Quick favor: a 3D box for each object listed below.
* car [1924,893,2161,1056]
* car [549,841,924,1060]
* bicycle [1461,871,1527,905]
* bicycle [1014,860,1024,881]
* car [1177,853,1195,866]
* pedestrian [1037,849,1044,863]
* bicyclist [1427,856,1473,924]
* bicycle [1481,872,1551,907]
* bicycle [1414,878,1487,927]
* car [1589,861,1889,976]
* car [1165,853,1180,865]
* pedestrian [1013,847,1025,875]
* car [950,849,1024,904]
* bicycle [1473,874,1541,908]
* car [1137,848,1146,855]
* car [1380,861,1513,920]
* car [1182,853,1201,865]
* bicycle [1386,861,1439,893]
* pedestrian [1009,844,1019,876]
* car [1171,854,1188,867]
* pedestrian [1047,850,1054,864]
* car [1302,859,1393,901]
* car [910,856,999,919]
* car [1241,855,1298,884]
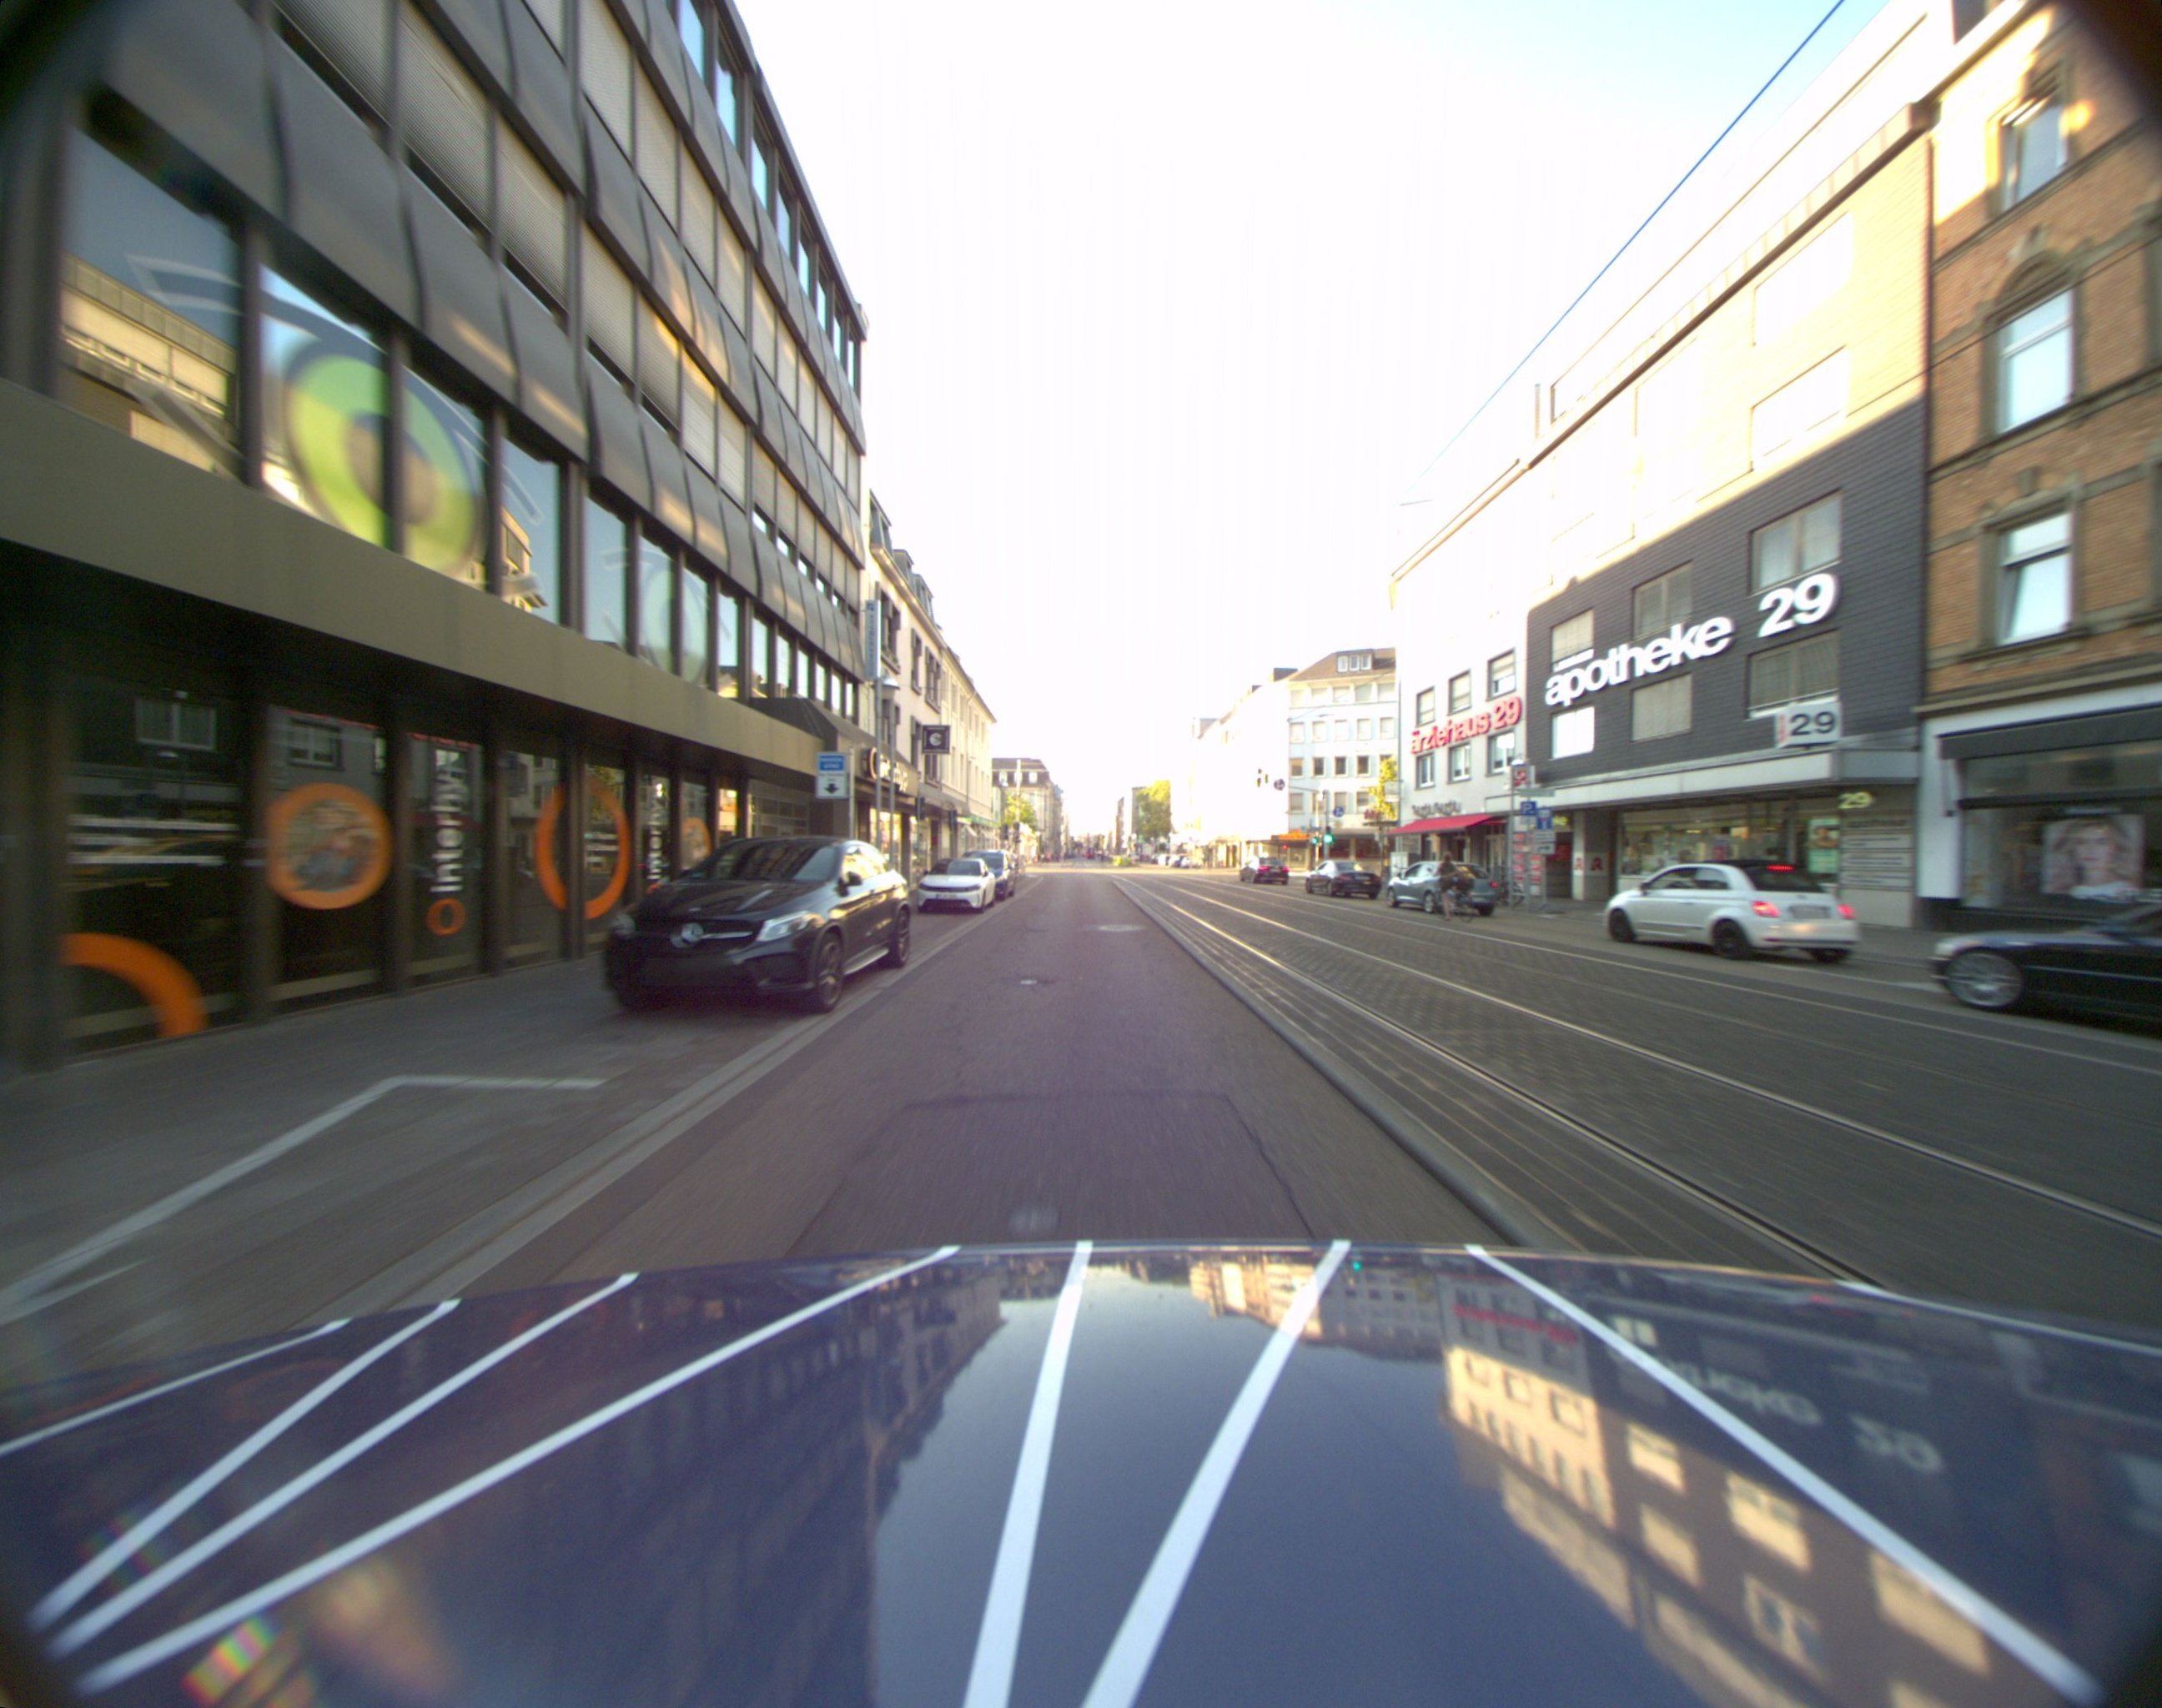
[{"bbox_3d":[9.608,1.056,5.746,1.671,1.221,4.273,2,0,0],"label":"car"},{"bbox_3d":[-3.318,0.780,8.573,1.989,1.724,4.670,2,0,1],"label":"car"},{"bbox_3d":[13.448,1.100,24.763,1.860,0.978,0.492,-3,1,0],"label":"bicycle"},{"bbox_3d":[-3.292,0.865,40.481,0.479,1.083,1.647,1,1,-3],"label":"bicycle"},{"bbox_3d":[12.719,0.660,92.335,1.847,1.626,4.001,0,0,3],"label":"car"},{"bbox_3d":[-4.805,0.280,89.835,0.806,1.603,0.993,-1,2,0],"label":"pedestrian"},{"bbox_3d":[8.742,0.840,18.019,0.695,1.556,0.799,0,1,-1],"label":"bicyclist"},{"bbox_3d":[13.442,1.086,23.492,1.860,0.978,0.462,-3,1,0],"label":"bicycle"},{"bbox_3d":[8.748,1.117,18.091,0.695,1.028,2.081,0,0,-1],"label":"bicycle"},{"bbox_3d":[10.437,0.918,12.474,1.671,1.497,3.680,2,0,0],"label":"car"},{"bbox_3d":[12.856,0.635,106.626,1.847,1.626,4.001,0,0,3],"label":"car"},{"bbox_3d":[-3.936,0.436,48.390,0.639,1.735,0.699,0,1,2],"label":"pedestrian"},{"bbox_3d":[-3.209,0.717,26.879,1.919,1.707,4.563,2,0,1],"label":"car"},{"bbox_3d":[13.445,1.165,24.009,1.860,0.978,0.462,-3,1,0],"label":"bicycle"},{"bbox_3d":[13.558,-0.511,171.415,1.847,1.626,4.001,0,0,3],"label":"car"},{"bbox_3d":[10.076,0.950,21.323,1.762,1.378,4.061,2,0,1],"label":"car"},{"bbox_3d":[12.759,0.571,87.860,1.847,1.287,4.001,0,0,3],"label":"car"},{"bbox_3d":[13.605,0.934,31.178,1.860,1.219,0.607,-3,1,0],"label":"bicycle"},{"bbox_3d":[-4.075,0.348,46.280,0.576,1.917,0.496,0,1,-11],"label":"pedestrian"},{"bbox_3d":[12.862,0.811,99.090,1.847,1.626,4.001,0,0,3],"label":"car"},{"bbox_3d":[-3.625,0.316,89.832,0.806,1.603,0.993,-1,2,0],"label":"pedestrian"},{"bbox_3d":[10.212,0.935,29.505,1.919,1.378,4.563,2,0,1],"label":"car"},{"bbox_3d":[-3.372,0.852,20.897,1.770,1.476,3.872,2,0,0],"label":"car"},{"bbox_3d":[10.024,0.769,40.708,1.919,1.378,4.563,2,0,1],"label":"car"}]
